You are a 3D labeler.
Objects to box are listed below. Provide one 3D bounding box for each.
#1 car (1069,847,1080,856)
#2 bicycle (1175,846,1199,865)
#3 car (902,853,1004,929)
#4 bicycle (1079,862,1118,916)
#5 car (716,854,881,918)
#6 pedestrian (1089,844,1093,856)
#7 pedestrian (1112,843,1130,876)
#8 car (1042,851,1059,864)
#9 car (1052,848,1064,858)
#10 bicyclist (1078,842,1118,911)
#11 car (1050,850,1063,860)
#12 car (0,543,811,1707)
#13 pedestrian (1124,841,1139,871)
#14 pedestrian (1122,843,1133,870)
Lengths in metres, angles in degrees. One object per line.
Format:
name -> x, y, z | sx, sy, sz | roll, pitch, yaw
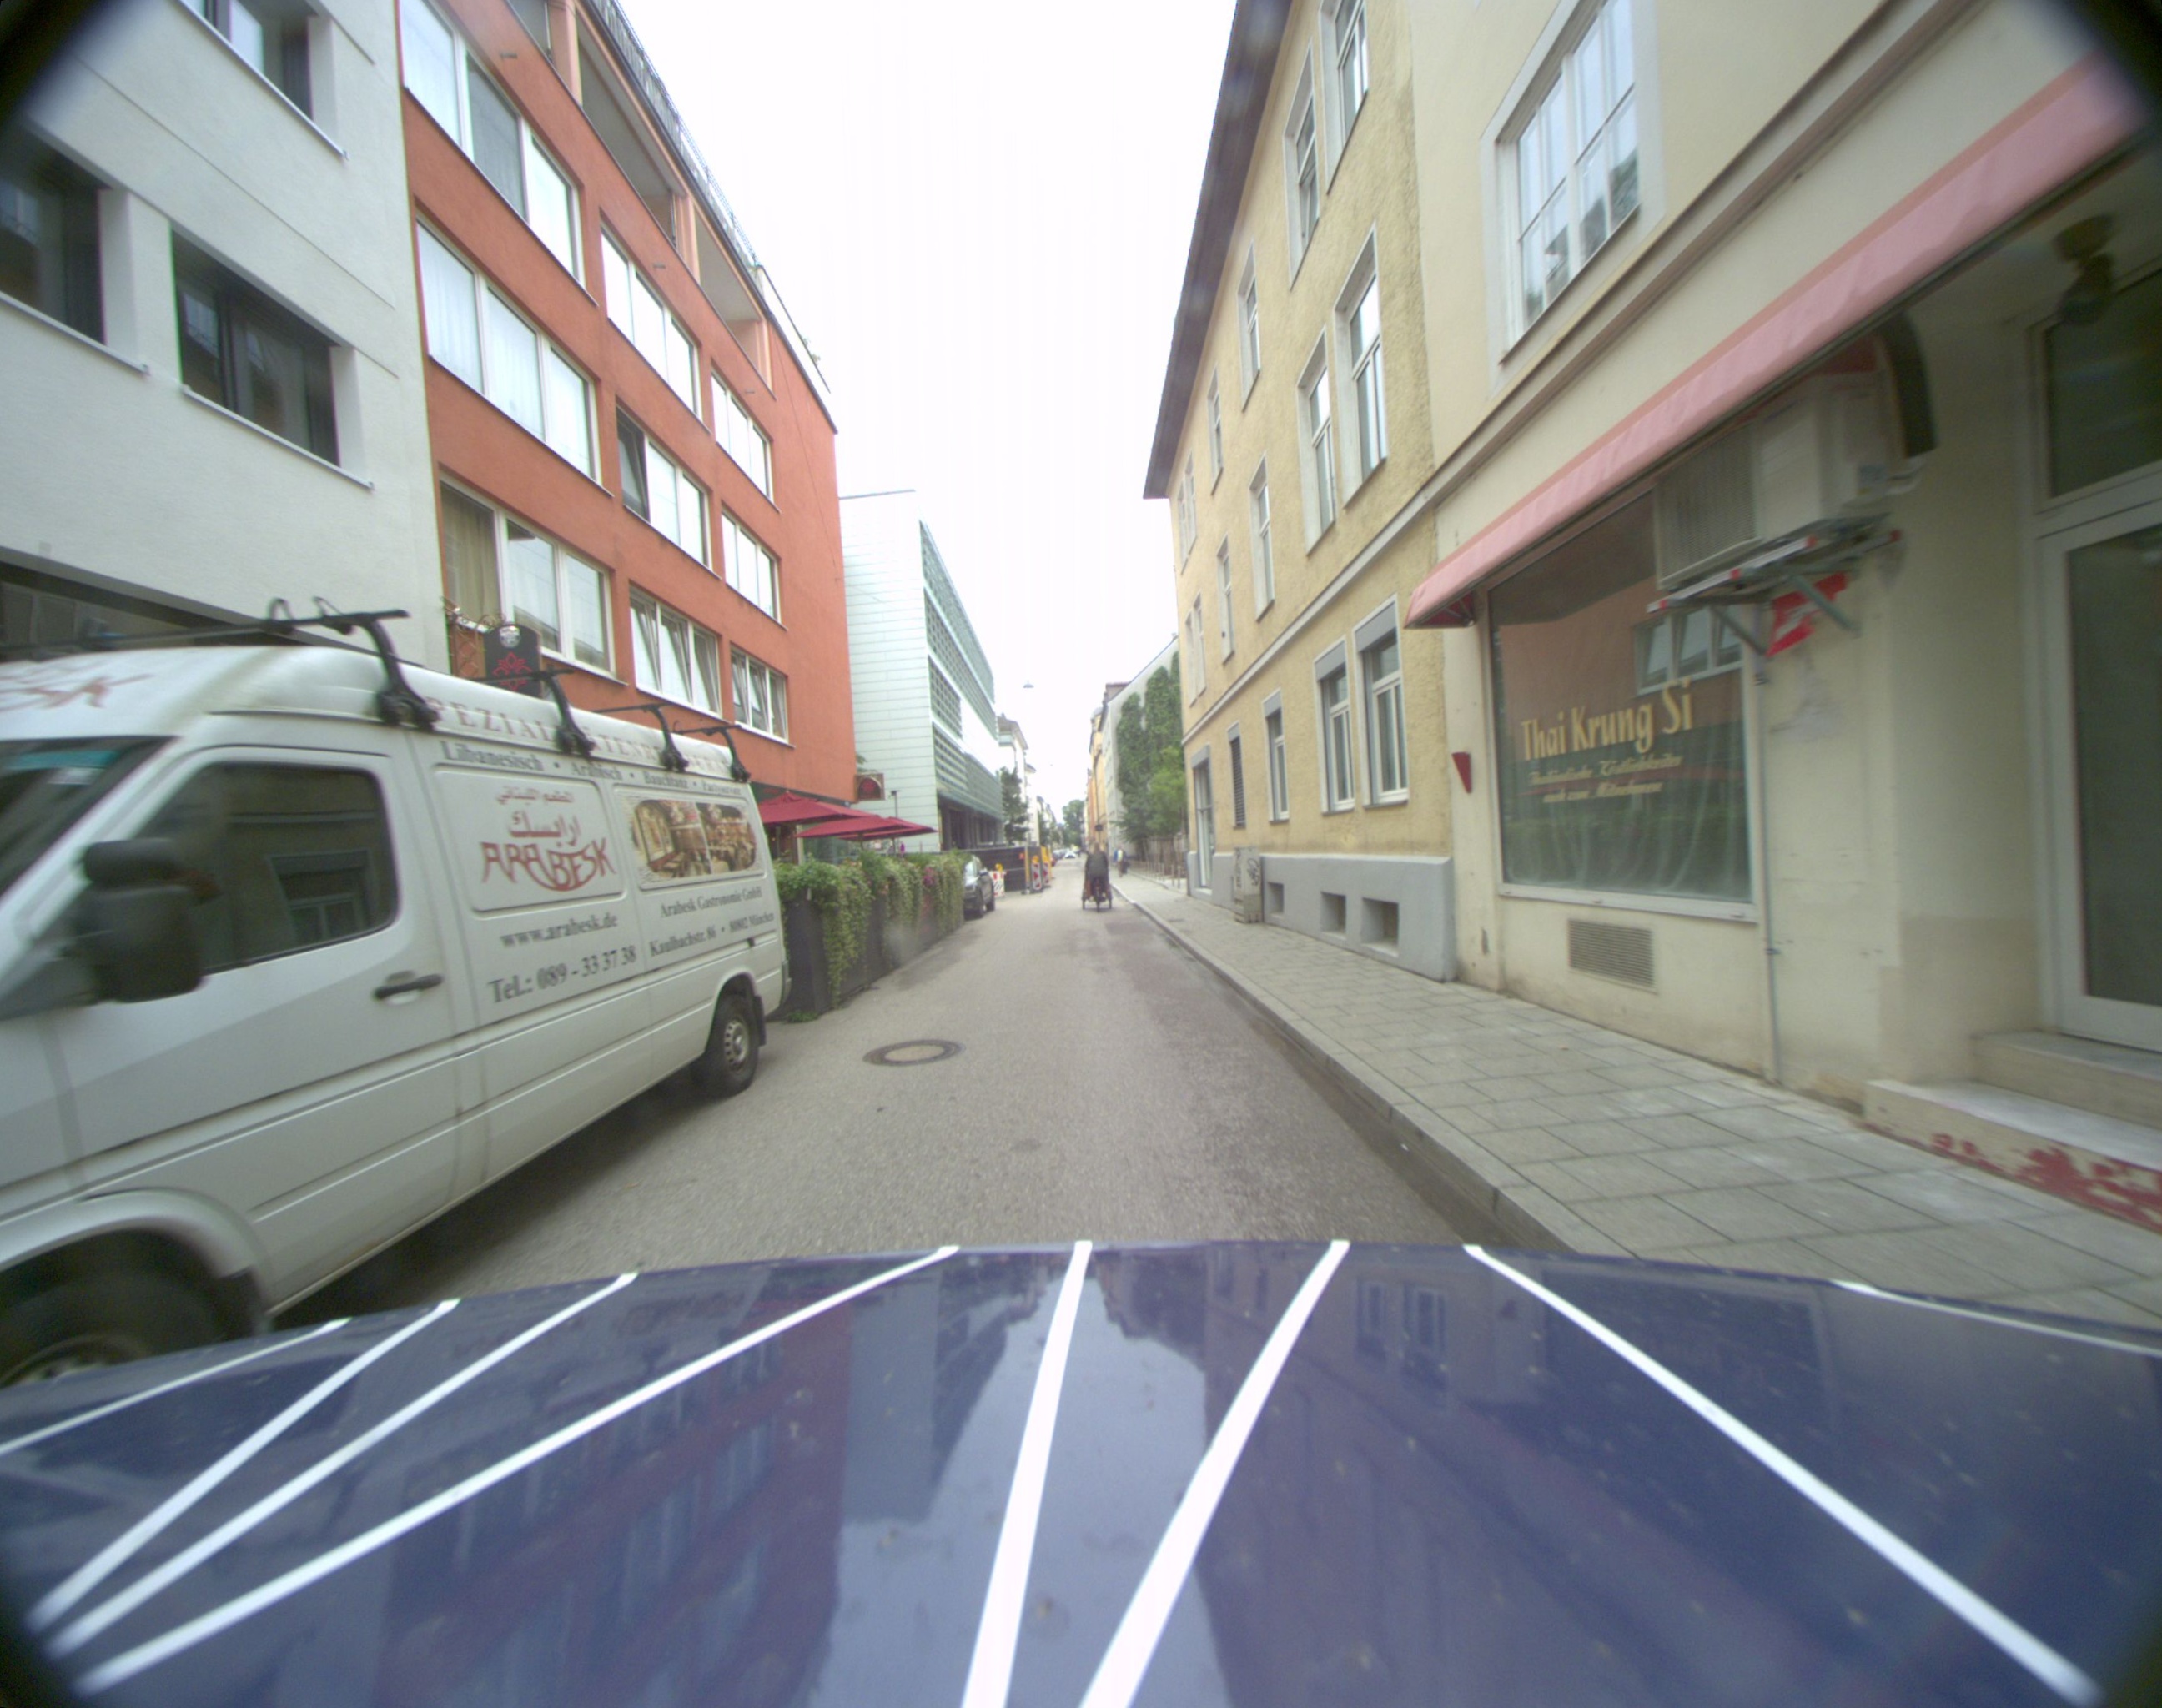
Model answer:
car -> -1.272, -0.551, 145.785 | 1.999, 1.583, 4.374 | -4, 1, -1
bicycle -> 6.940, 0.113, 49.886 | 0.714, 1.202, 1.995 | -5, 1, -18
car -> -3.368, 0.904, 20.807 | 1.828, 1.700, 4.389 | -5, 1, 1
bicycle -> 0.445, 0.882, 20.320 | 0.934, 1.250, 2.413 | -3, 1, 0
car -> -8.859, 0.983, 24.120 | 4.473, 1.710, 1.840 | -3, 1, -1
pedestrian -> 1.579, -0.563, 117.910 | 0.493, 1.814, 0.552 | -3, 1, -1
pedestrian -> 2.285, 0.307, 43.412 | 0.861, 1.834, 0.974 | -5, 1, 1
car -> -3.645, 0.380, 91.998 | 1.809, 1.390, 3.999 | -4, 1, -1
car -> -3.996, -0.126, 131.529 | 1.793, 1.550, 3.999 | -4, 1, -1
bicyclist -> 0.434, 0.568, 19.854 | 0.929, 1.711, 1.099 | -2, 1, 0
car -> -3.514, 0.110, 108.957 | 1.625, 1.259, 4.328 | -4, 1, -1
car -> -3.341, 0.608, 3.504 | 1.925, 2.491, 5.996 | -5, 0, -1
pedestrian -> 3.235, 0.117, 48.423 | 0.777, 1.826, 0.991 | -4, 1, -1
pedestrian -> 2.844, 0.148, 46.560 | 0.553, 1.650, 0.997 | -4, 1, -1
